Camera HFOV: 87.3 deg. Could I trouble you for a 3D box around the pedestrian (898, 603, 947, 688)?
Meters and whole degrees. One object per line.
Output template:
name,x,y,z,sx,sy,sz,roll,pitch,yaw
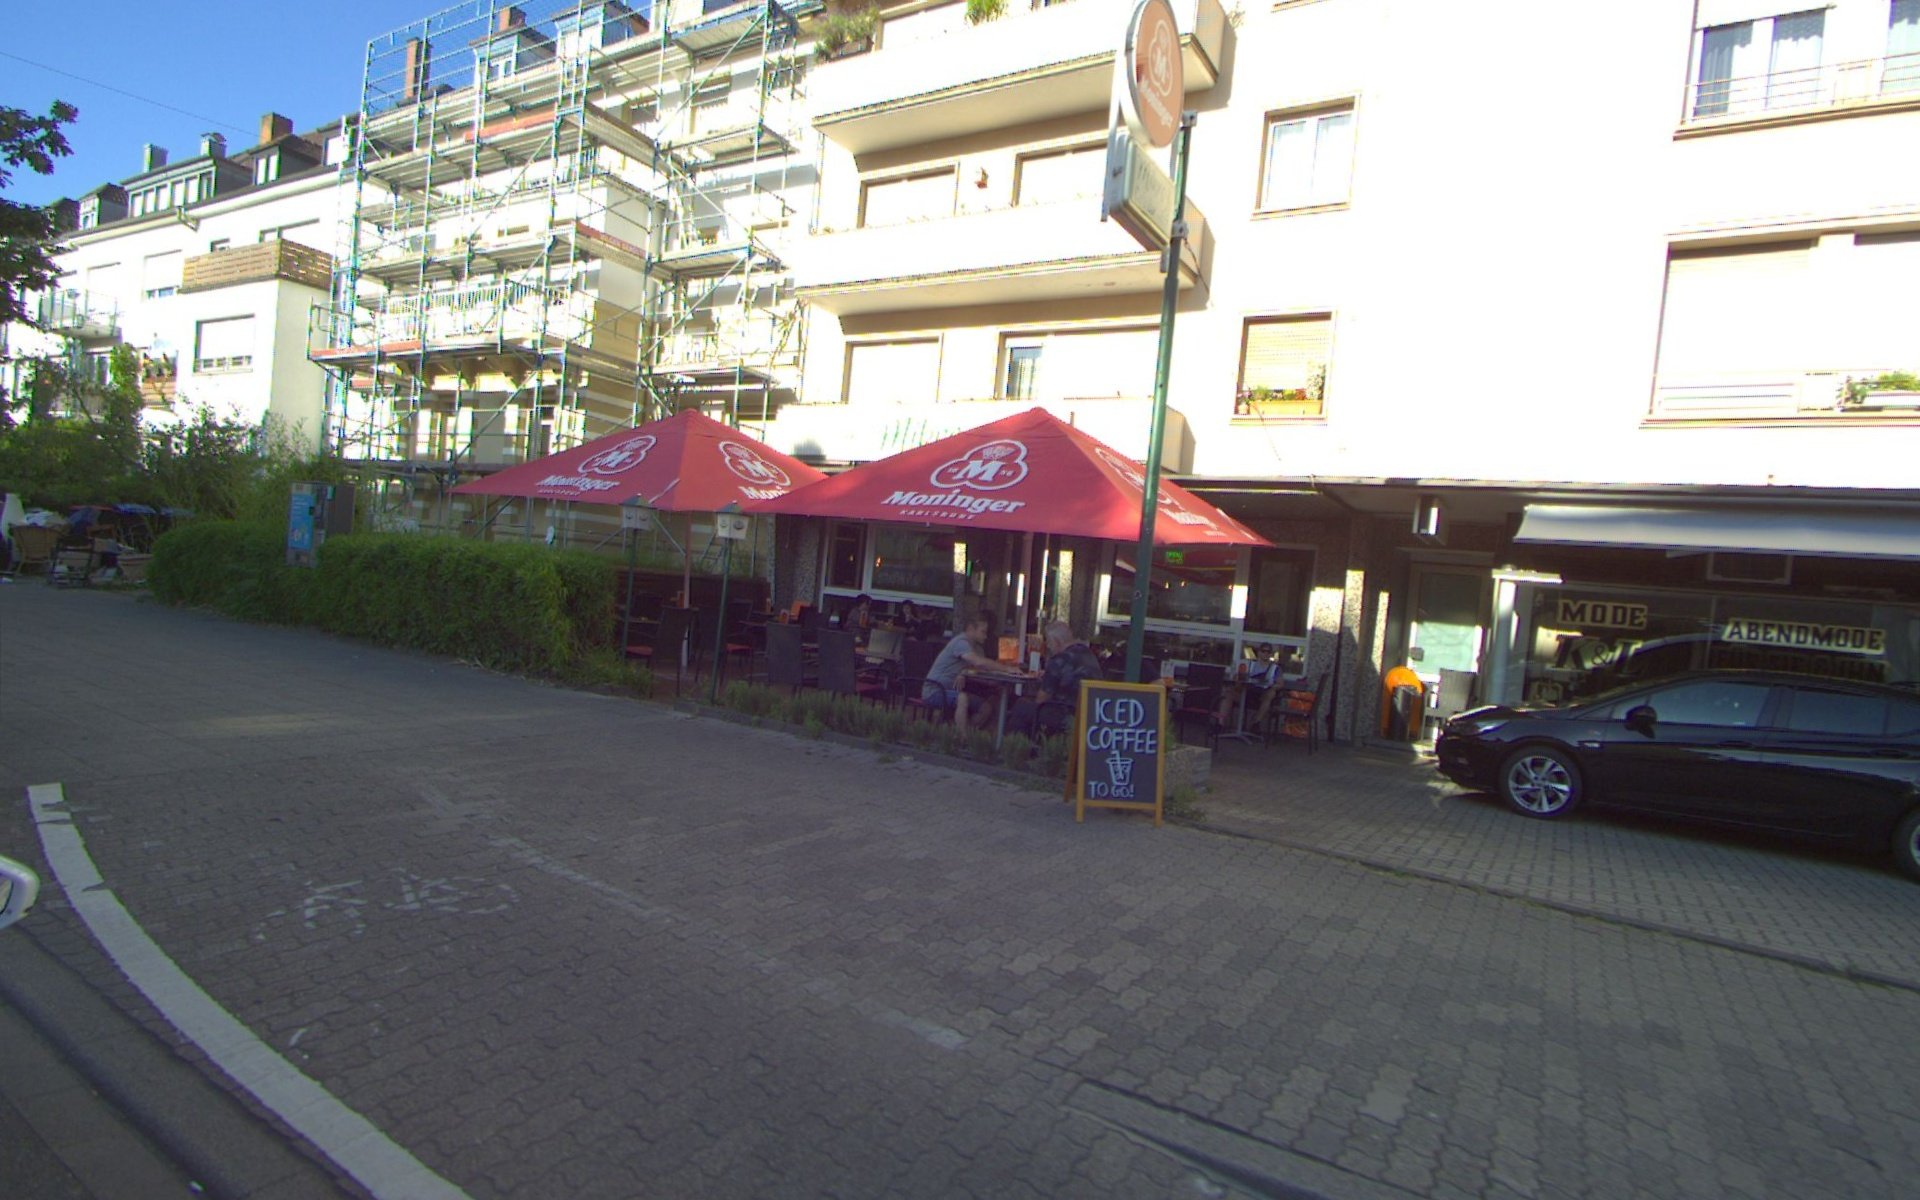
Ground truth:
pedestrian,-0.547,0.667,14.727,0.407,1.203,0.523,4,0,38

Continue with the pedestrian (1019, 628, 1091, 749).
pedestrian,0.966,0.891,10.219,0.407,1.164,0.523,6,1,38

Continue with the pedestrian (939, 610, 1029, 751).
pedestrian,0.211,0.703,8.929,0.518,1.164,0.486,6,1,36

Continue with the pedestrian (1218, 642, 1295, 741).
pedestrian,3.815,1.165,12.950,0.709,1.164,0.608,6,0,34

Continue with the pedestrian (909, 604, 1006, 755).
pedestrian,-0.016,0.651,8.368,0.518,1.164,0.493,6,1,36

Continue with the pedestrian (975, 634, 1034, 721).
pedestrian,0.550,0.943,12.328,0.407,1.003,0.523,6,1,38

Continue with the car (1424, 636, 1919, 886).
car,6.489,1.289,8.781,4.135,1.503,1.829,5,0,32

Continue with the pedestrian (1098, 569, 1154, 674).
pedestrian,2.974,0.384,18.015,0.674,1.798,0.524,6,1,33

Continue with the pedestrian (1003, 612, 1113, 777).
pedestrian,0.752,0.710,7.719,0.622,1.164,0.412,6,1,36

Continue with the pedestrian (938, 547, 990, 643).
pedestrian,0.082,-0.095,19.612,0.674,1.798,0.524,6,1,33

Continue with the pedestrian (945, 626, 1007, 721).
pedestrian,0.190,0.865,11.870,0.407,1.062,0.523,6,1,38

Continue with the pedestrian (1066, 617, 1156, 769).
pedestrian,1.388,0.837,9.210,0.532,1.299,0.524,6,1,34
